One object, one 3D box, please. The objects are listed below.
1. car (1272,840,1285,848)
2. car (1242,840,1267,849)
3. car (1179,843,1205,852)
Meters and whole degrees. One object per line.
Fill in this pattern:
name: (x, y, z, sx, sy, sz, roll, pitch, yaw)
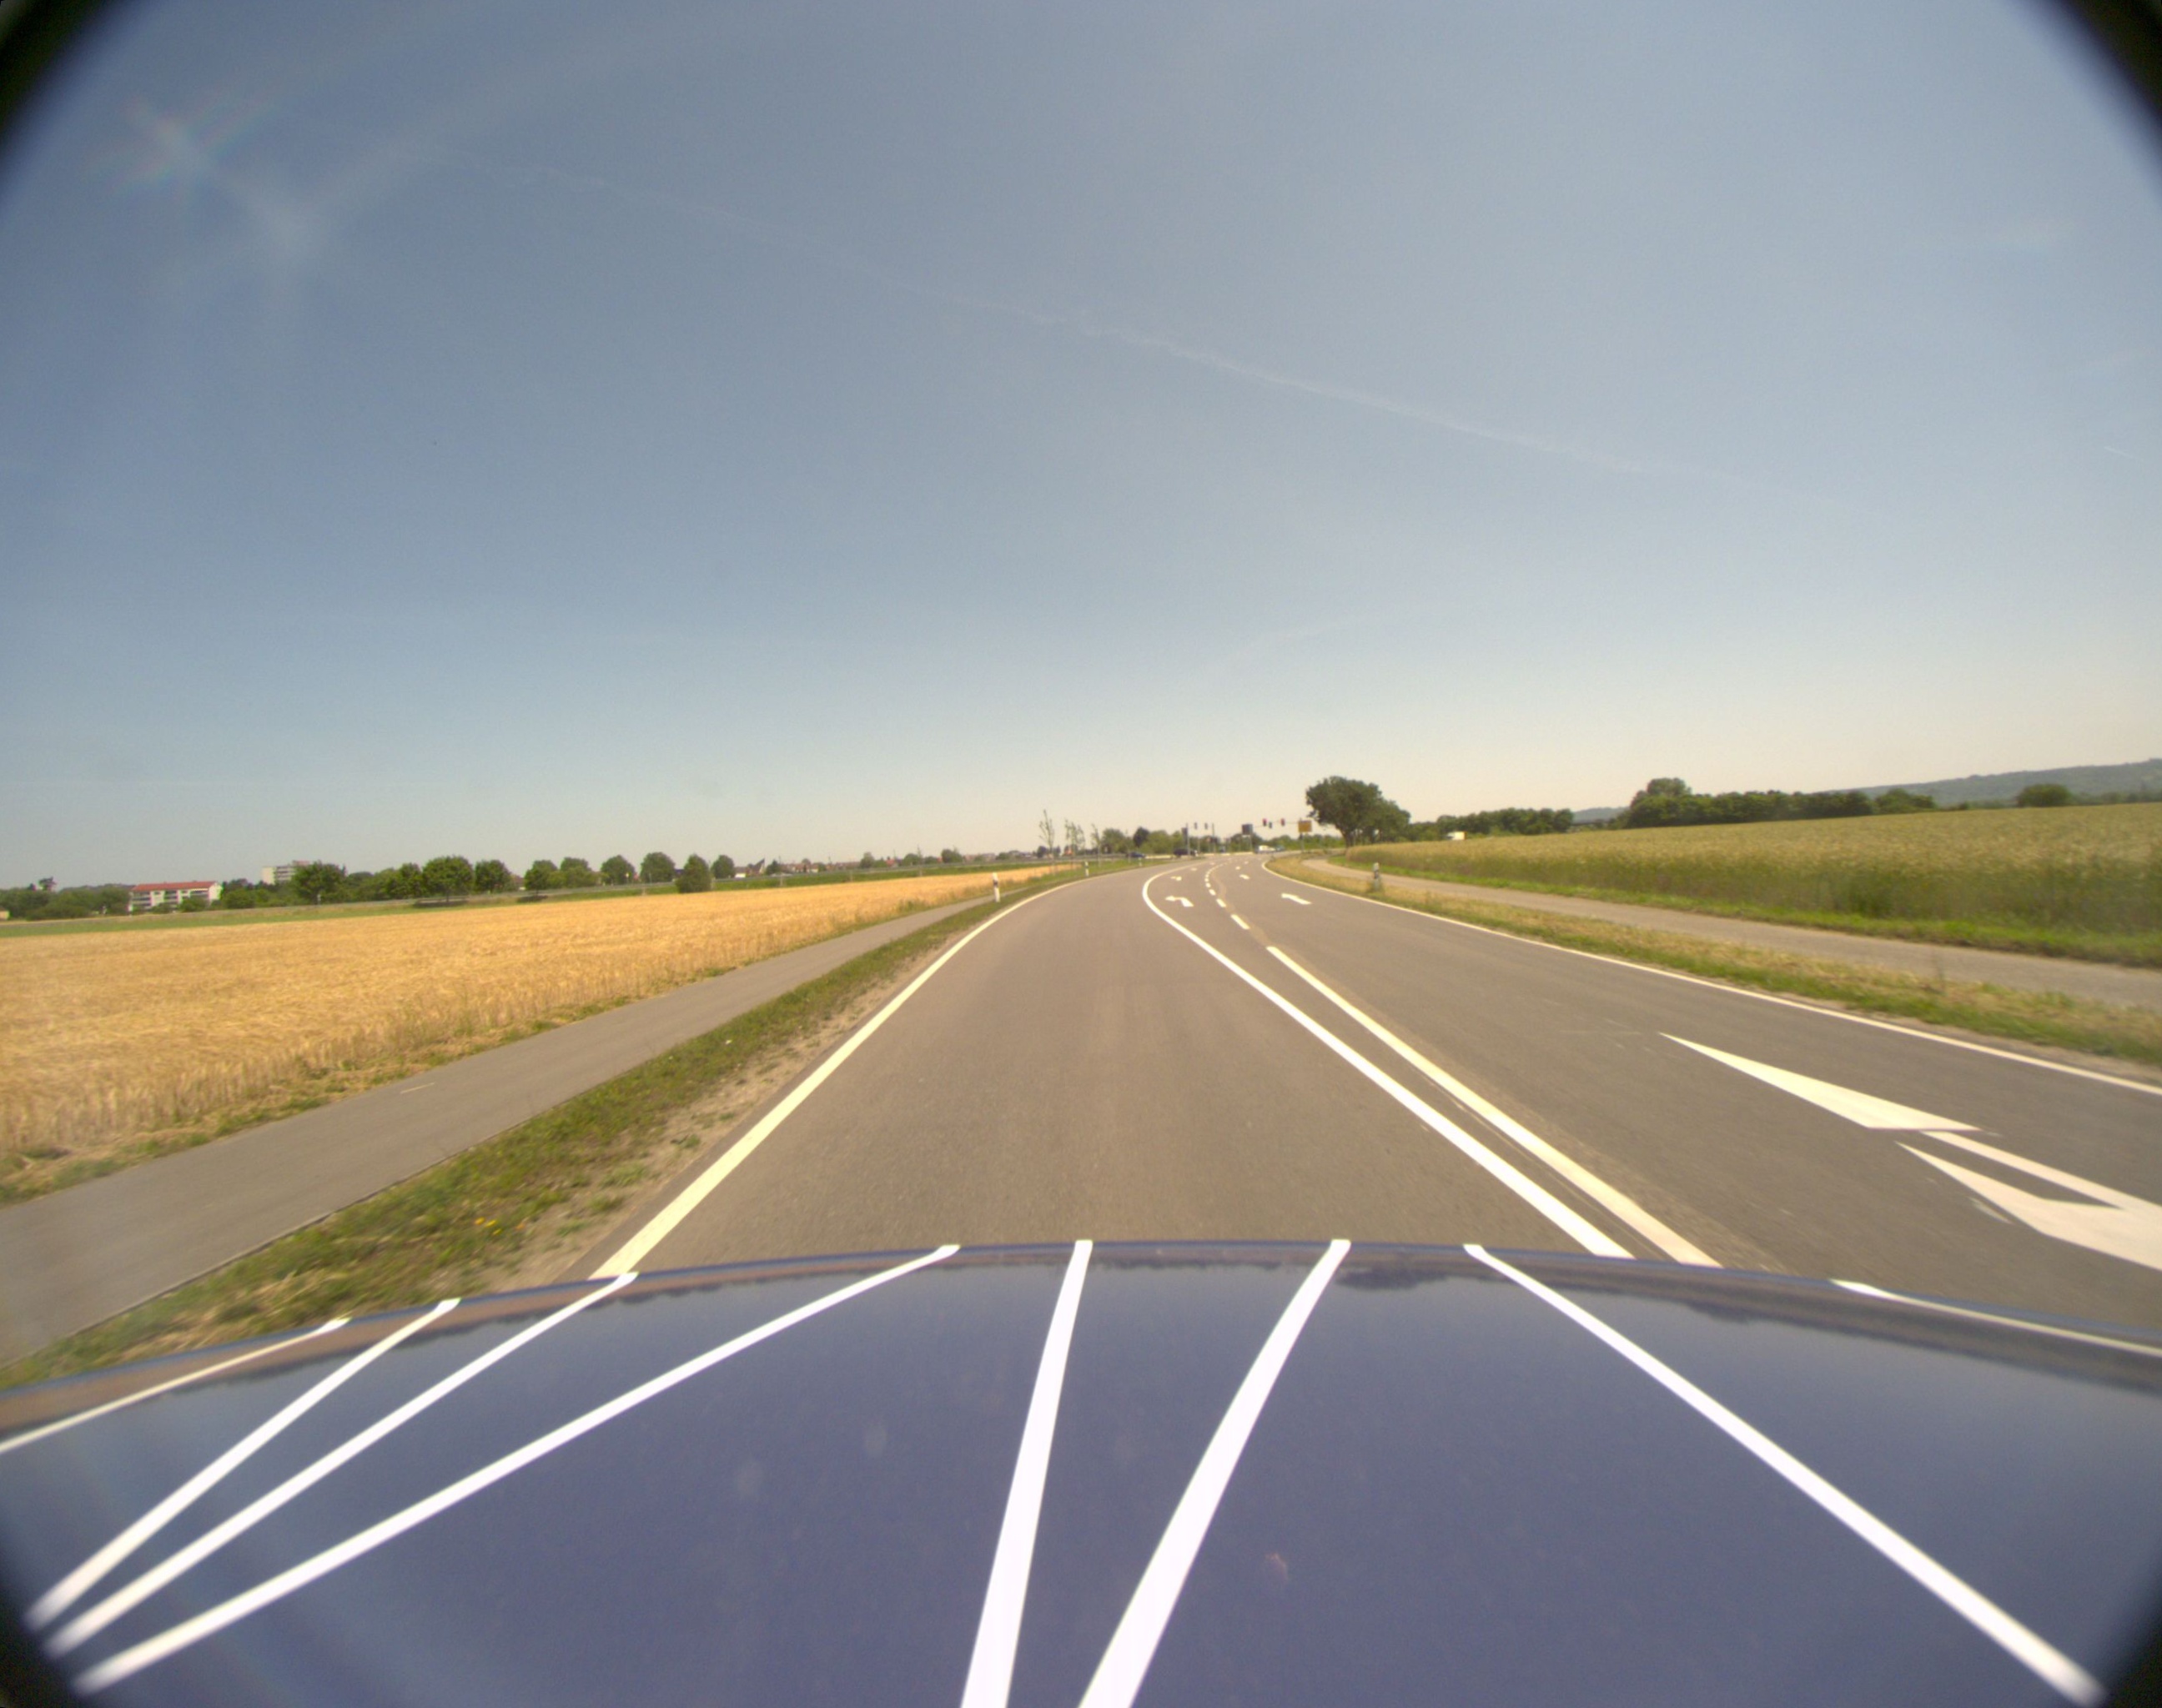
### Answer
car: (42.210, -2.124, 162.217, 1.654, 1.557, 4.007, -1, 1, 31)
car: (32.629, -1.693, 142.700, 4.152, 1.451, 1.659, -3, 1, -9)
car: (20.783, -1.228, 142.506, 4.516, 1.631, 1.816, -2, 2, 23)
